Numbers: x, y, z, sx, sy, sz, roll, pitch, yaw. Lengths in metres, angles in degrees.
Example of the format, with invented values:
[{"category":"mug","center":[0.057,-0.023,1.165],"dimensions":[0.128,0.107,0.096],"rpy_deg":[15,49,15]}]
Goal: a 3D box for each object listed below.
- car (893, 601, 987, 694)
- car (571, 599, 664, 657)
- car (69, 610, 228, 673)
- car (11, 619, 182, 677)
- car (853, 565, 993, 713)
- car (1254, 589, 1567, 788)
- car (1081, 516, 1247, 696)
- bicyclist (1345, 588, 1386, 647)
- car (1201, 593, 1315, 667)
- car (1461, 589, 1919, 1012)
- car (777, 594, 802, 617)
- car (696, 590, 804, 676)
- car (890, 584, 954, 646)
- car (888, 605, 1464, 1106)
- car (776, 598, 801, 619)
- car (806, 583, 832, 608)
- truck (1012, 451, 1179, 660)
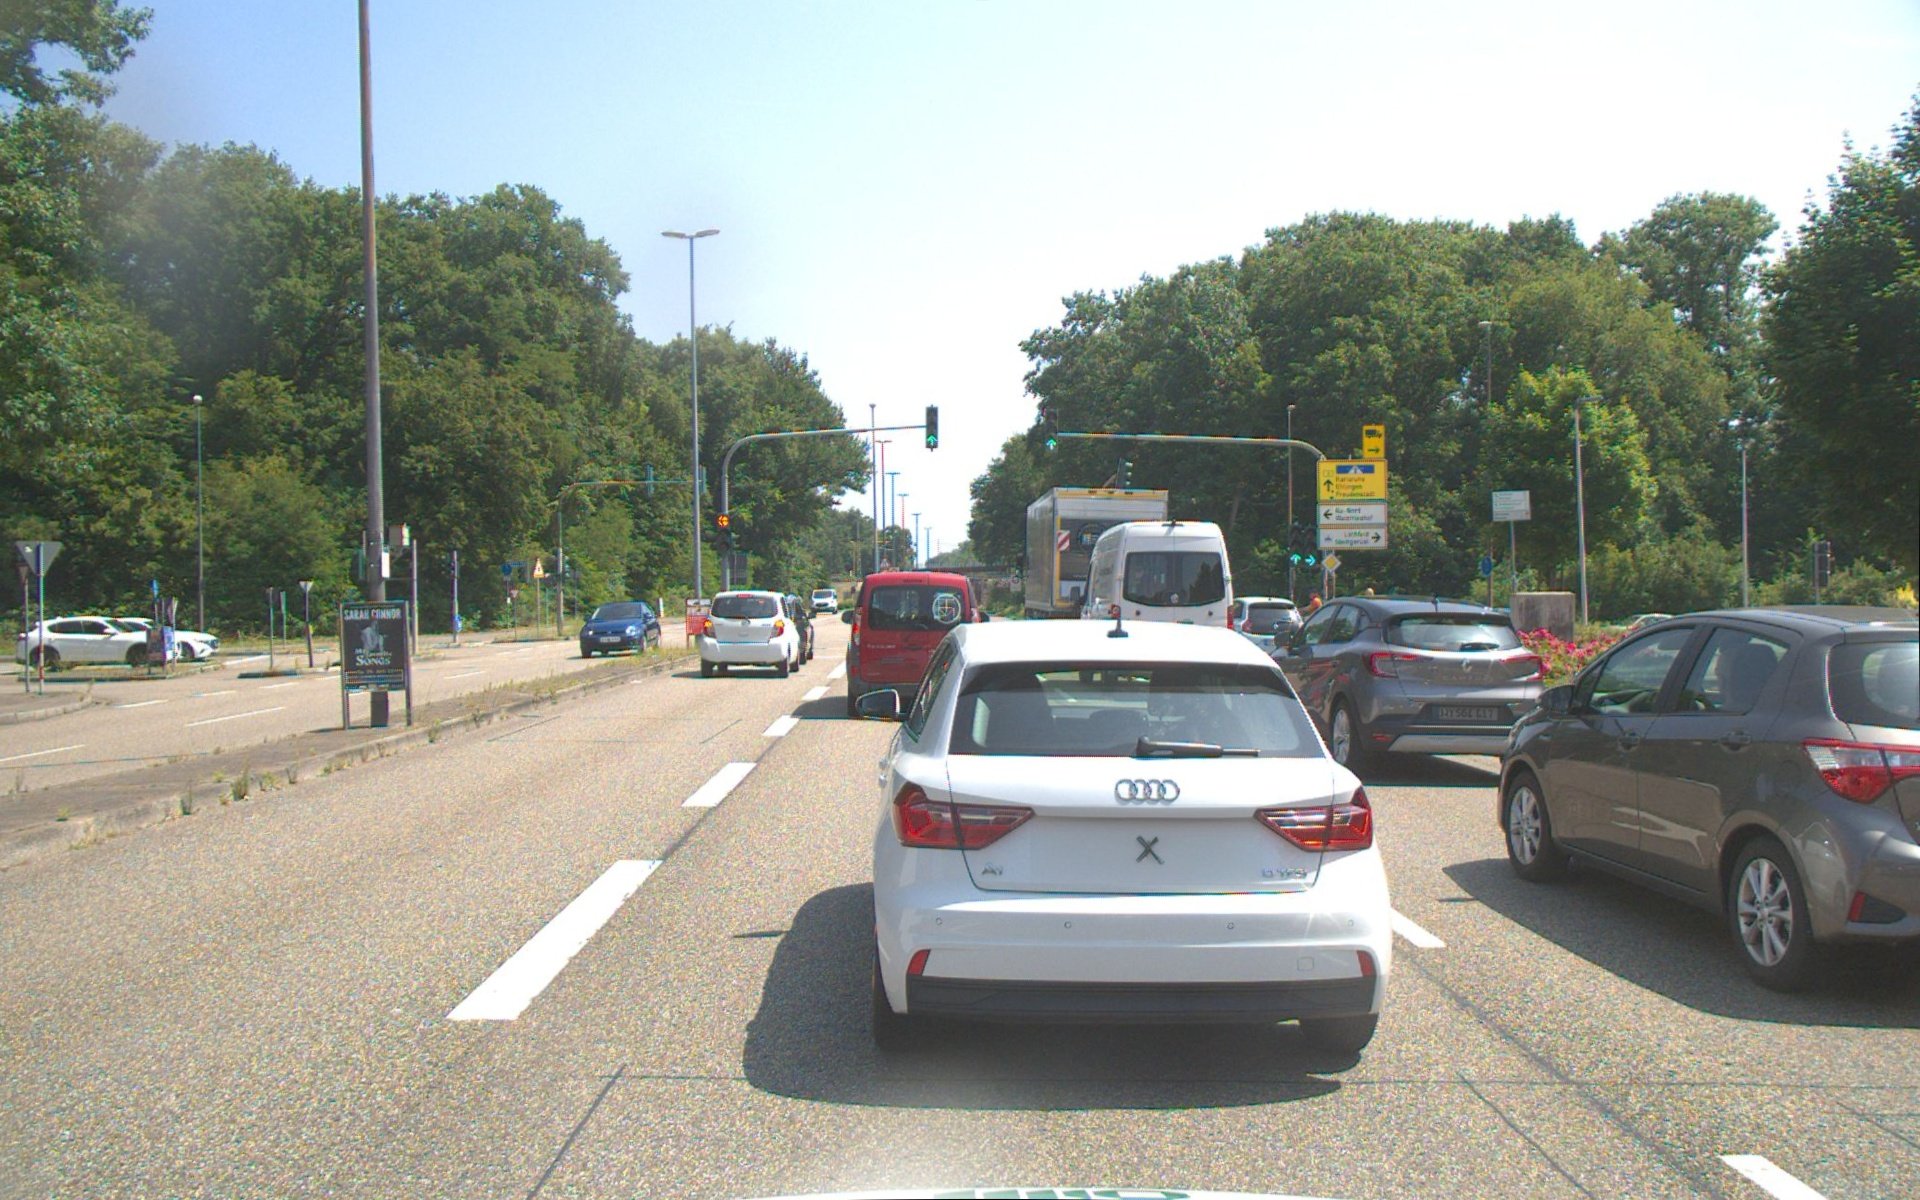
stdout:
[{"category":"car","center":[-0.442,0.864,31.851],"dimensions":[1.677,1.660,4.089],"rpy_deg":[0,0,-3]},{"category":"car","center":[-9.373,0.738,45.529],"dimensions":[1.769,1.359,3.999],"rpy_deg":[-4,0,-2]},{"category":"car","center":[-27.045,1.360,55.246],"dimensions":[4.291,1.710,1.807],"rpy_deg":[-4,0,-9]},{"category":"car","center":[-26.781,1.471,51.431],"dimensions":[4.290,1.711,1.807],"rpy_deg":[1,-1,-9]},{"category":"car","center":[-0.539,0.468,21.959],"dimensions":[1.677,1.779,4.089],"rpy_deg":[0,0,-3]},{"category":"car","center":[4.052,0.718,15.576],"dimensions":[1.677,1.621,4.089],"rpy_deg":[0,0,-3]},{"category":"car","center":[3.229,0.082,27.175],"dimensions":[1.990,2.690,4.843],"rpy_deg":[0,0,-2]},{"category":"bicyclist","center":[10.277,0.448,41.955],"dimensions":[0.815,1.464,0.595],"rpy_deg":[-1,0,44]},{"category":"car","center":[6.716,0.640,37.626],"dimensions":[1.677,1.573,4.089],"rpy_deg":[0,0,-3]},{"category":"car","center":[3.984,0.746,7.991],"dimensions":[1.678,1.504,4.089],"rpy_deg":[3,0,-3]},{"category":"car","center":[-14.802,0.455,143.364],"dimensions":[1.835,1.893,3.998],"rpy_deg":[-1,0,-2]},{"category":"car","center":[-3.892,0.576,31.190],"dimensions":[1.677,1.519,4.089],"rpy_deg":[0,0,-3]},{"category":"car","center":[-1.104,0.405,46.294],"dimensions":[1.677,1.660,4.089],"rpy_deg":[0,0,-3]},{"category":"car","center":[0.545,0.743,6.842],"dimensions":[1.677,1.410,4.089],"rpy_deg":[0,0,-3]},{"category":"car","center":[-14.882,0.709,143.505],"dimensions":[1.793,1.758,3.999],"rpy_deg":[-1,0,-2]},{"category":"car","center":[-11.183,-0.343,131.369],"dimensions":[1.835,1.893,3.998],"rpy_deg":[-1,0,-2]},{"category":"truck","center":[3.147,-0.993,41.902],"dimensions":[3.026,4.511,11.577],"rpy_deg":[1,0,-1]}]
